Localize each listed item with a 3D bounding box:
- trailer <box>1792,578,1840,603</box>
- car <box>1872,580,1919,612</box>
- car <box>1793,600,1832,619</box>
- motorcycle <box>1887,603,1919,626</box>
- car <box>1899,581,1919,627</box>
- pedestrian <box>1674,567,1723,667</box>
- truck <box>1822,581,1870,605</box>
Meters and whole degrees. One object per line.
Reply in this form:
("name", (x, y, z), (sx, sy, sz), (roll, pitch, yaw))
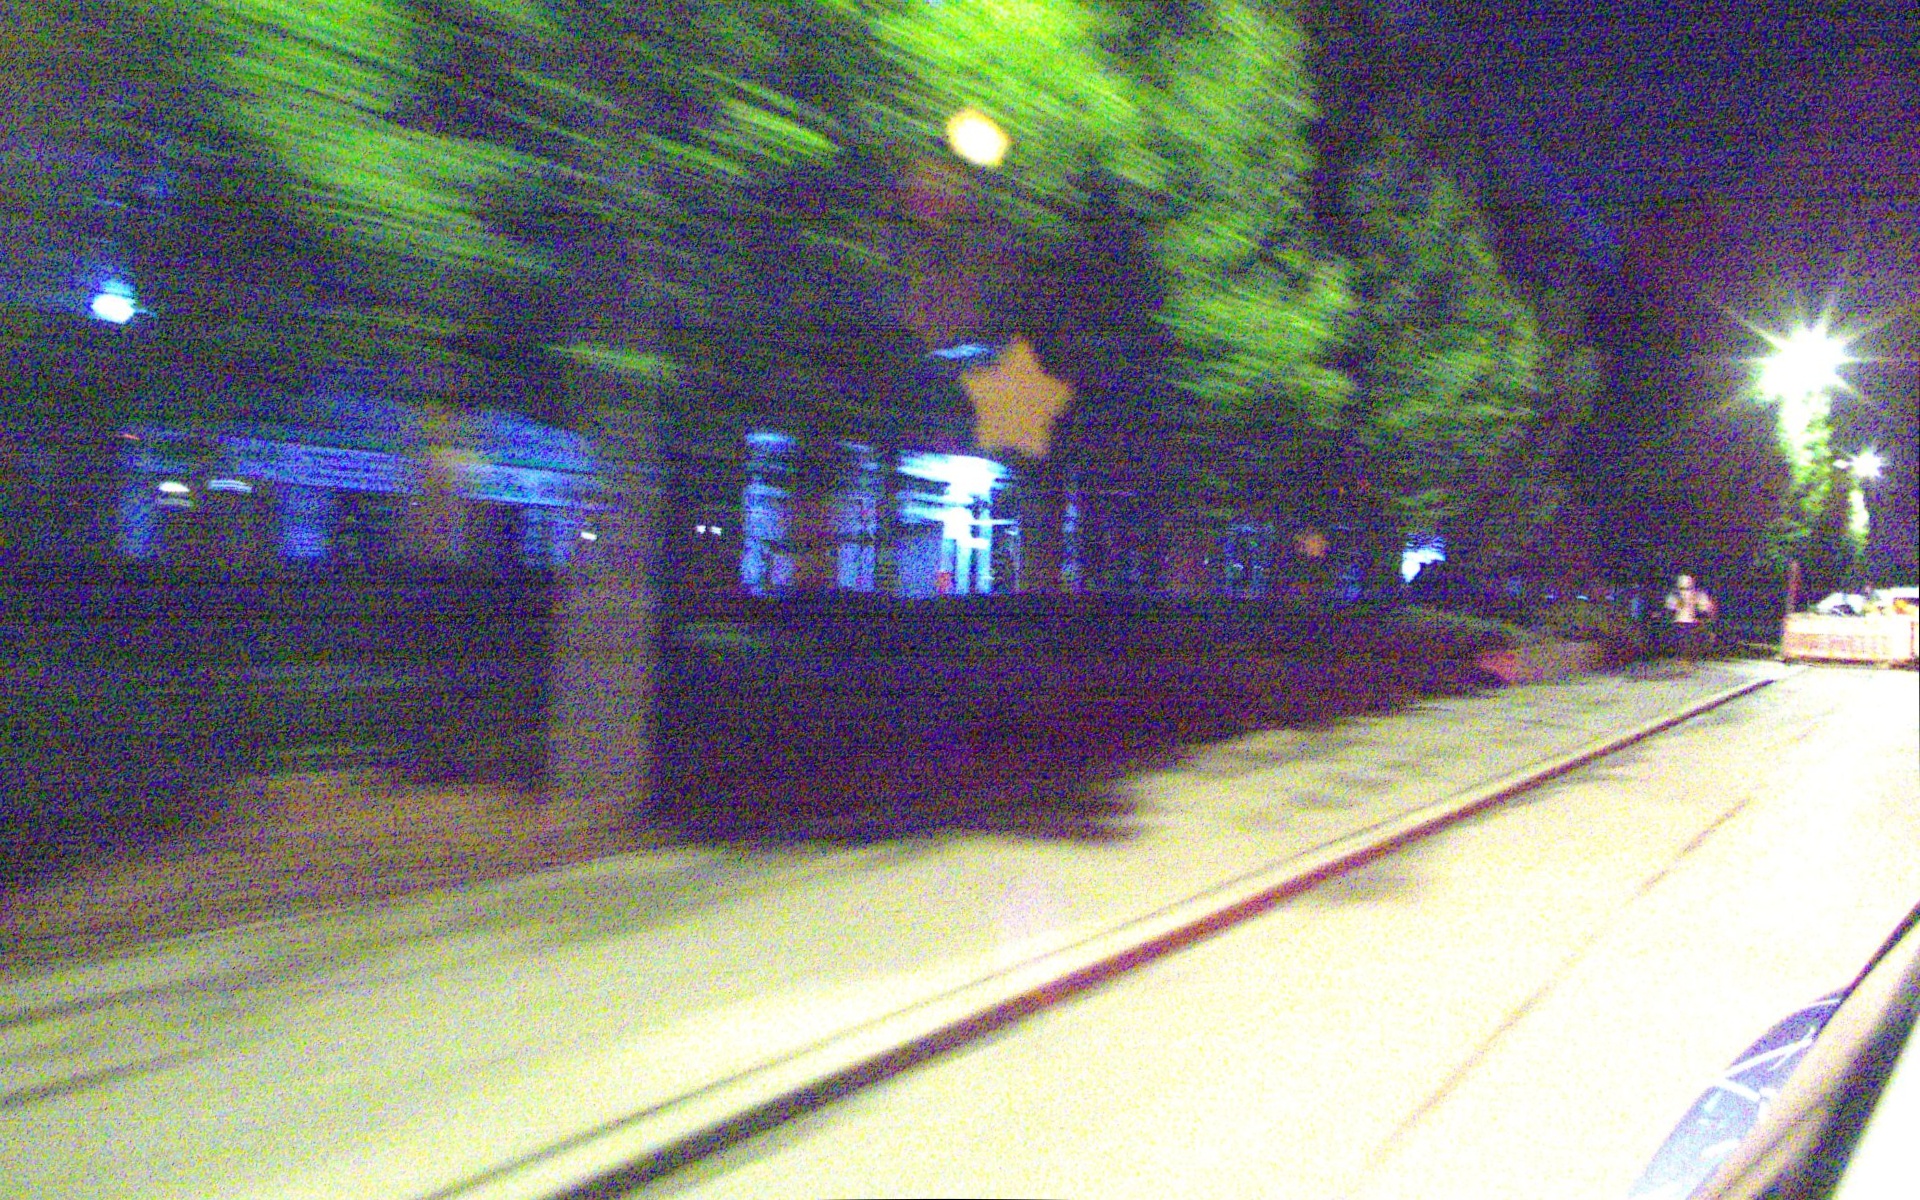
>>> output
("trailer", (110.901, -1.253, 131.220), (2.464, 3.111, 7.889), (3, 2, 24))
("car", (102.542, -0.447, 110.097), (2.362, 3.283, 7.181), (2, 2, 21))
("car", (92.832, 1.001, 110.206), (1.980, 2.039, 5.306), (1, 1, 26))
("motorcycle", (51.749, 0.780, 54.839), (0.752, 1.198, 2.190), (0, 1, -13))
("car", (54.892, 0.217, 57.512), (2.021, 2.558, 5.954), (1, 1, 45))
("pedestrian", (14.222, 0.308, 19.496), (0.806, 1.875, 0.571), (0, 2, -44))
("truck", (107.822, -0.887, 123.276), (1.976, 2.818, 7.193), (2, 2, 21))
